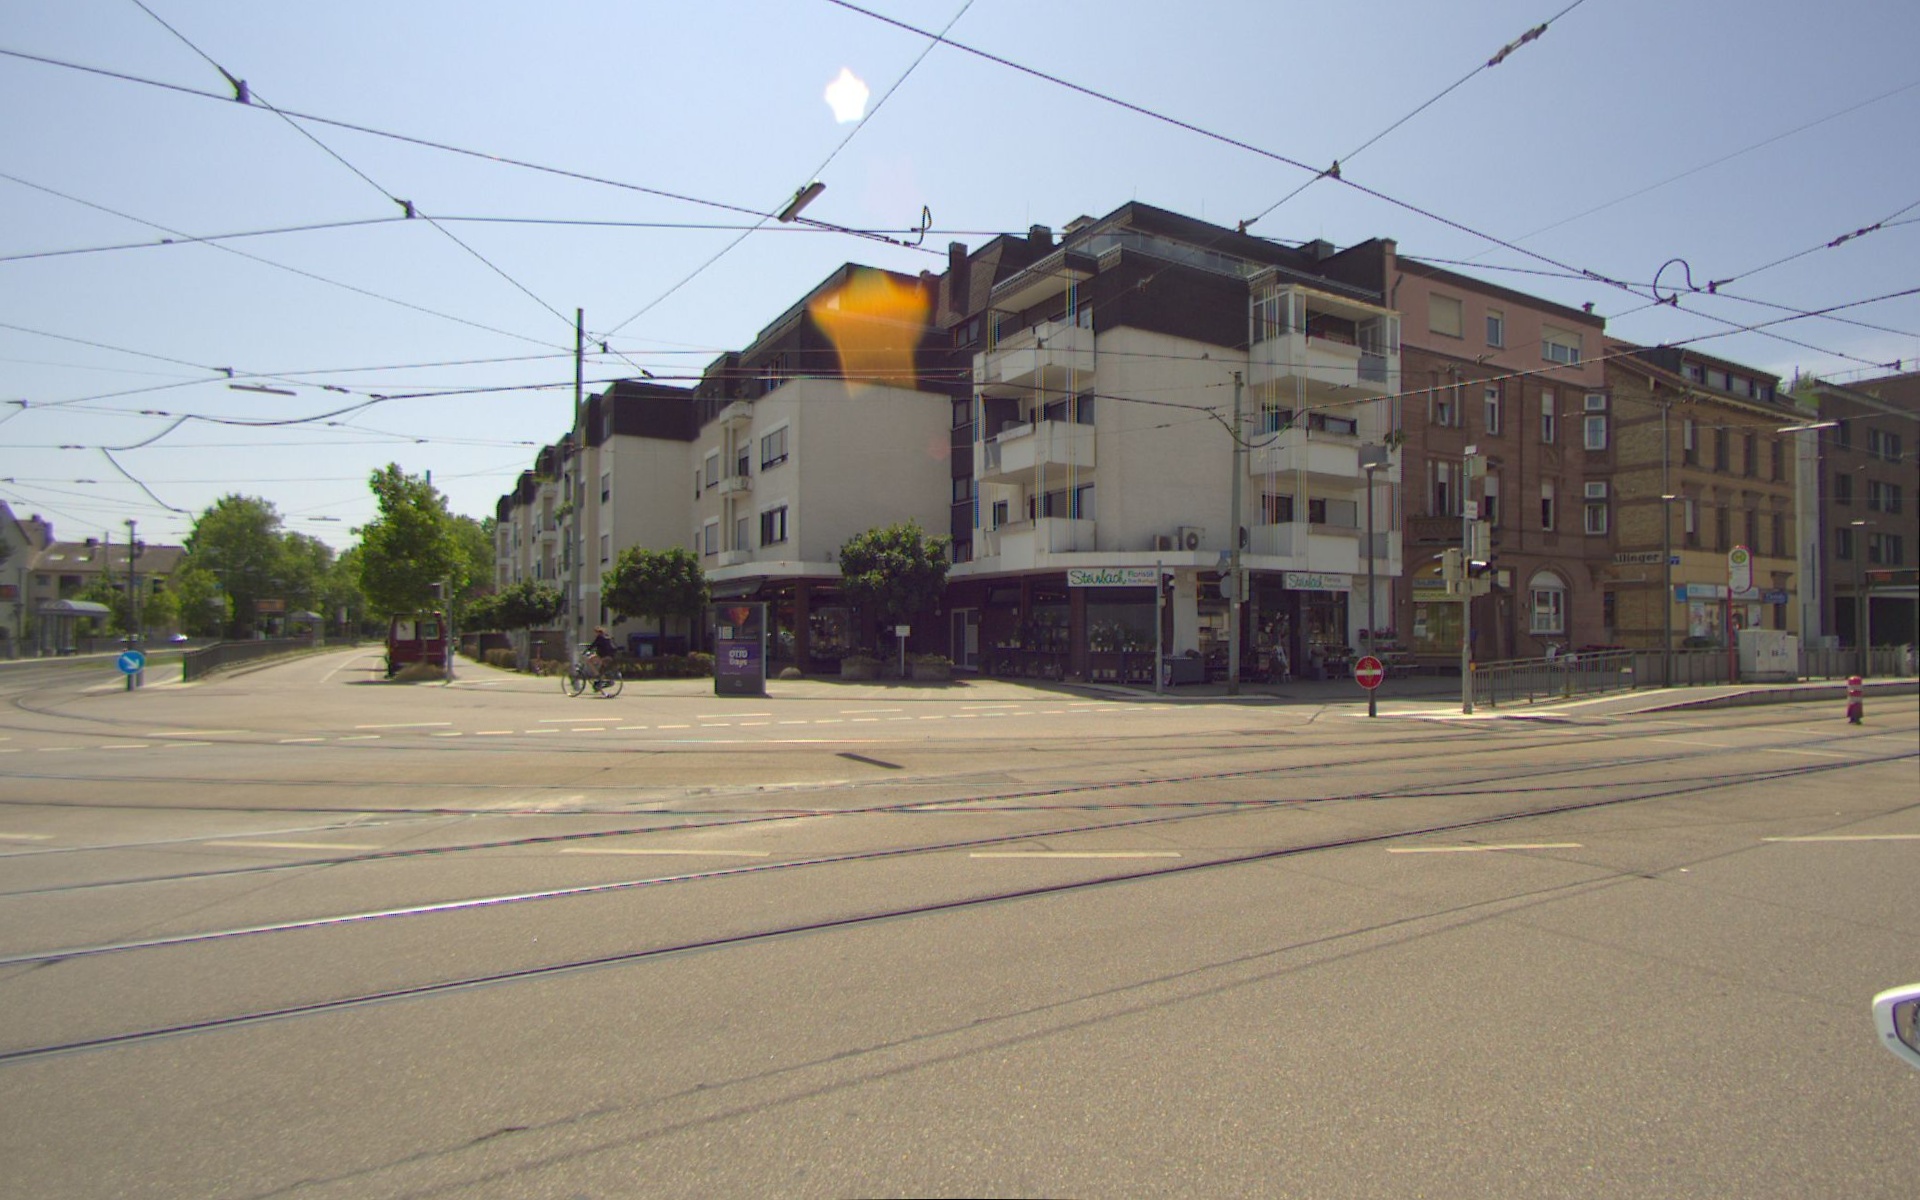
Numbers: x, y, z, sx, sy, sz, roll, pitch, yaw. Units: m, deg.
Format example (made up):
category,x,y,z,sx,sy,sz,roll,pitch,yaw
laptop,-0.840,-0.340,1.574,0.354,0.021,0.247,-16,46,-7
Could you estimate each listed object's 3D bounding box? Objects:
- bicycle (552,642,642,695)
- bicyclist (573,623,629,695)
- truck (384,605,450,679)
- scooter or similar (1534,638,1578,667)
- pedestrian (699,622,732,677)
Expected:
category,x,y,z,sx,sy,sz,roll,pitch,yaw
bicycle,-9.280,1.748,25.700,2.062,1.321,0.679,0,-2,8
bicyclist,-9.163,1.501,25.662,1.112,1.785,0.735,0,-2,8
truck,-21.721,1.657,40.121,2.161,2.734,5.004,1,-2,-29
scooter or similar,22.890,2.003,38.604,1.550,1.096,0.488,0,-2,-14
pedestrian,-7.693,1.556,31.655,0.791,1.719,0.702,0,-2,7
